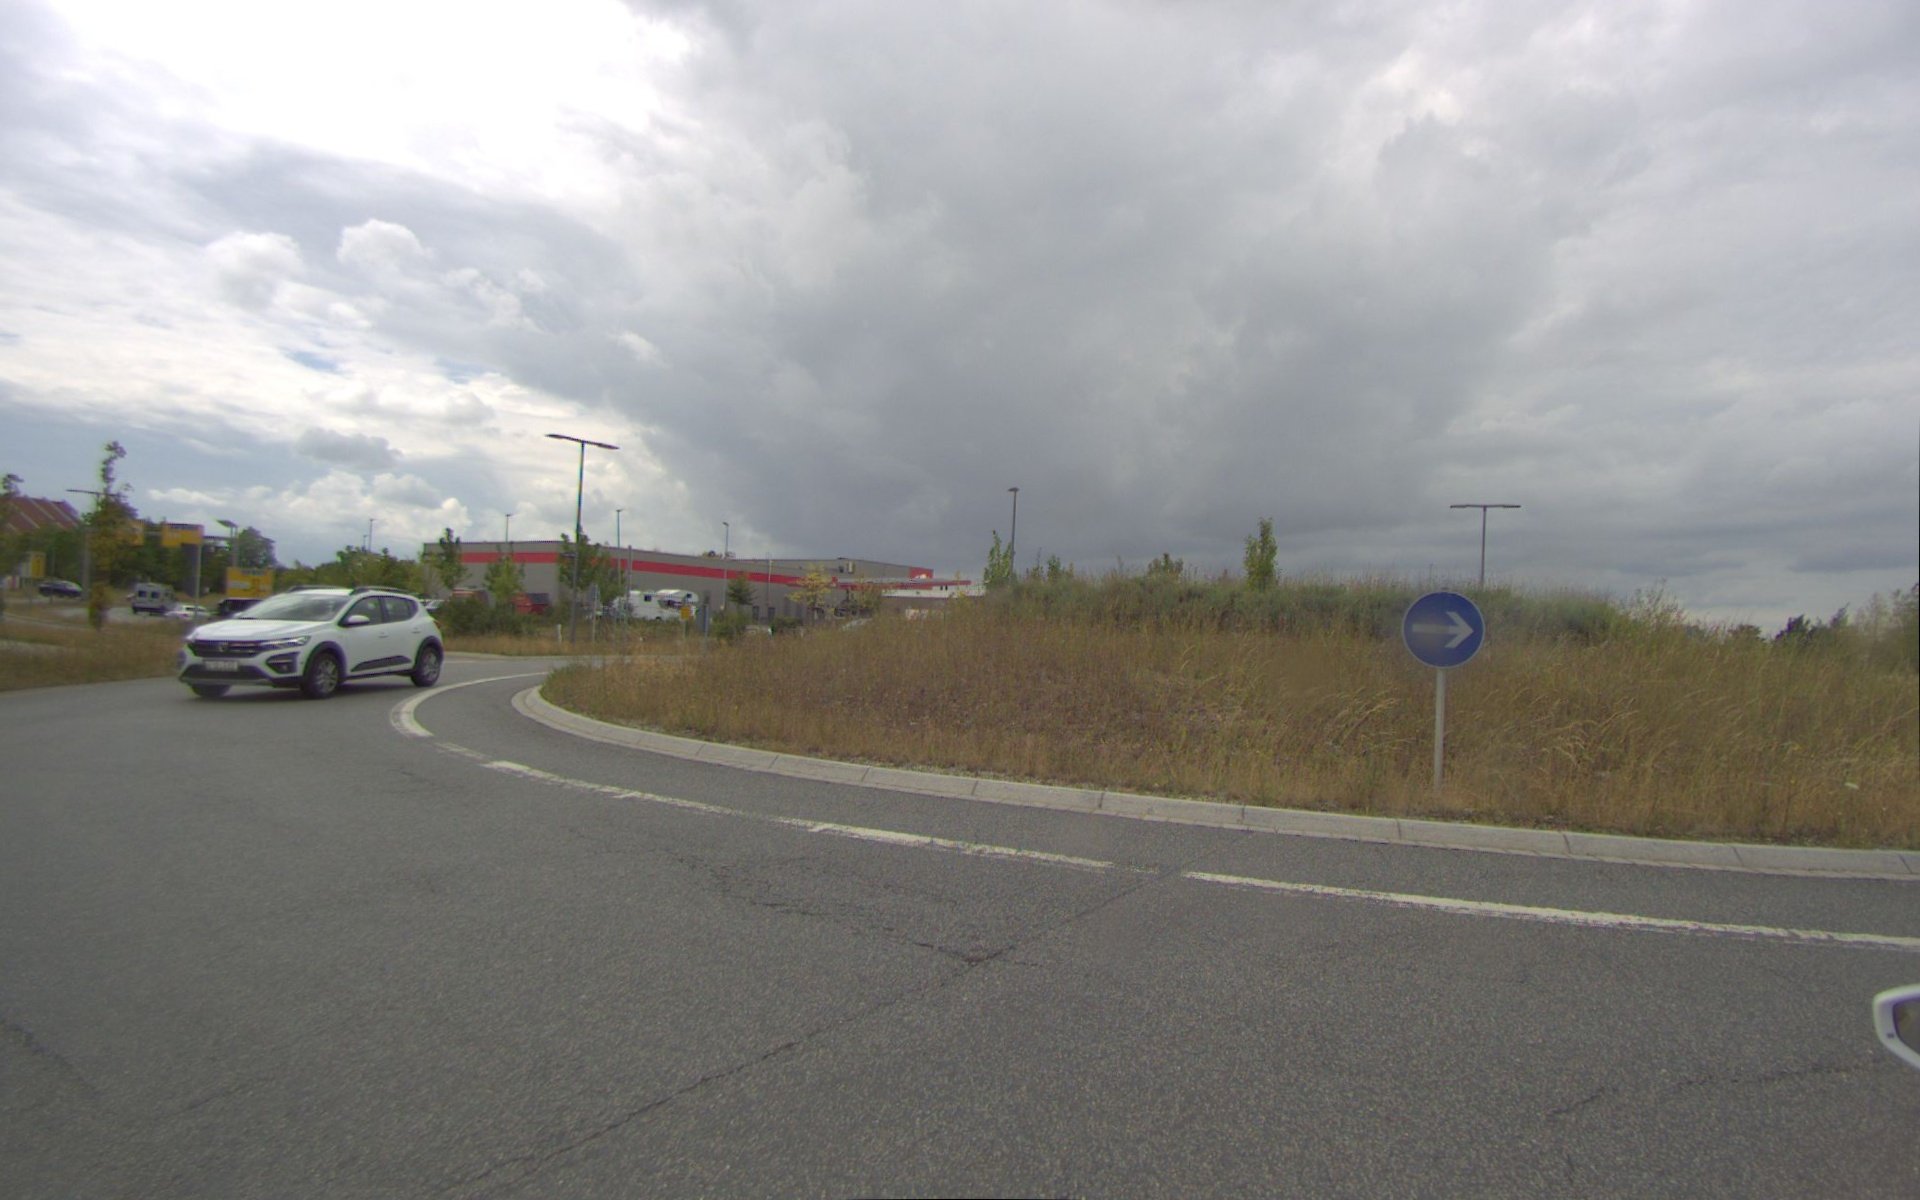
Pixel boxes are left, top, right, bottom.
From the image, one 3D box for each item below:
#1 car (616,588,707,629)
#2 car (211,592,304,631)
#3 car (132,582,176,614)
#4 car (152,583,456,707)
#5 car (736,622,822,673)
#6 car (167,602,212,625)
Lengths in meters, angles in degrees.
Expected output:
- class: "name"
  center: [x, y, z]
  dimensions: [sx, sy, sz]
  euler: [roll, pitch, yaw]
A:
- class: "car"
  center: [-25.697, 0.801, 86.785]
  dimensions: [2.428, 2.856, 7.675]
  euler: [4, -2, 32]
- class: "car"
  center: [-32.244, 0.523, 46.077]
  dimensions: [3.929, 1.572, 2.014]
  euler: [2, -2, 31]
- class: "car"
  center: [-67.713, -0.209, 84.429]
  dimensions: [2.259, 2.418, 5.656]
  euler: [6, -2, -34]
- class: "car"
  center: [-9.454, 0.645, 14.952]
  dimensions: [1.699, 1.579, 4.087]
  euler: [0, -2, 2]
- class: "car"
  center: [-6.651, 1.766, 37.426]
  dimensions: [1.960, 1.629, 4.300]
  euler: [5, -2, 5]
- class: "car"
  center: [-49.652, 0.871, 64.732]
  dimensions: [3.690, 1.318, 1.493]
  euler: [0, -3, 40]
